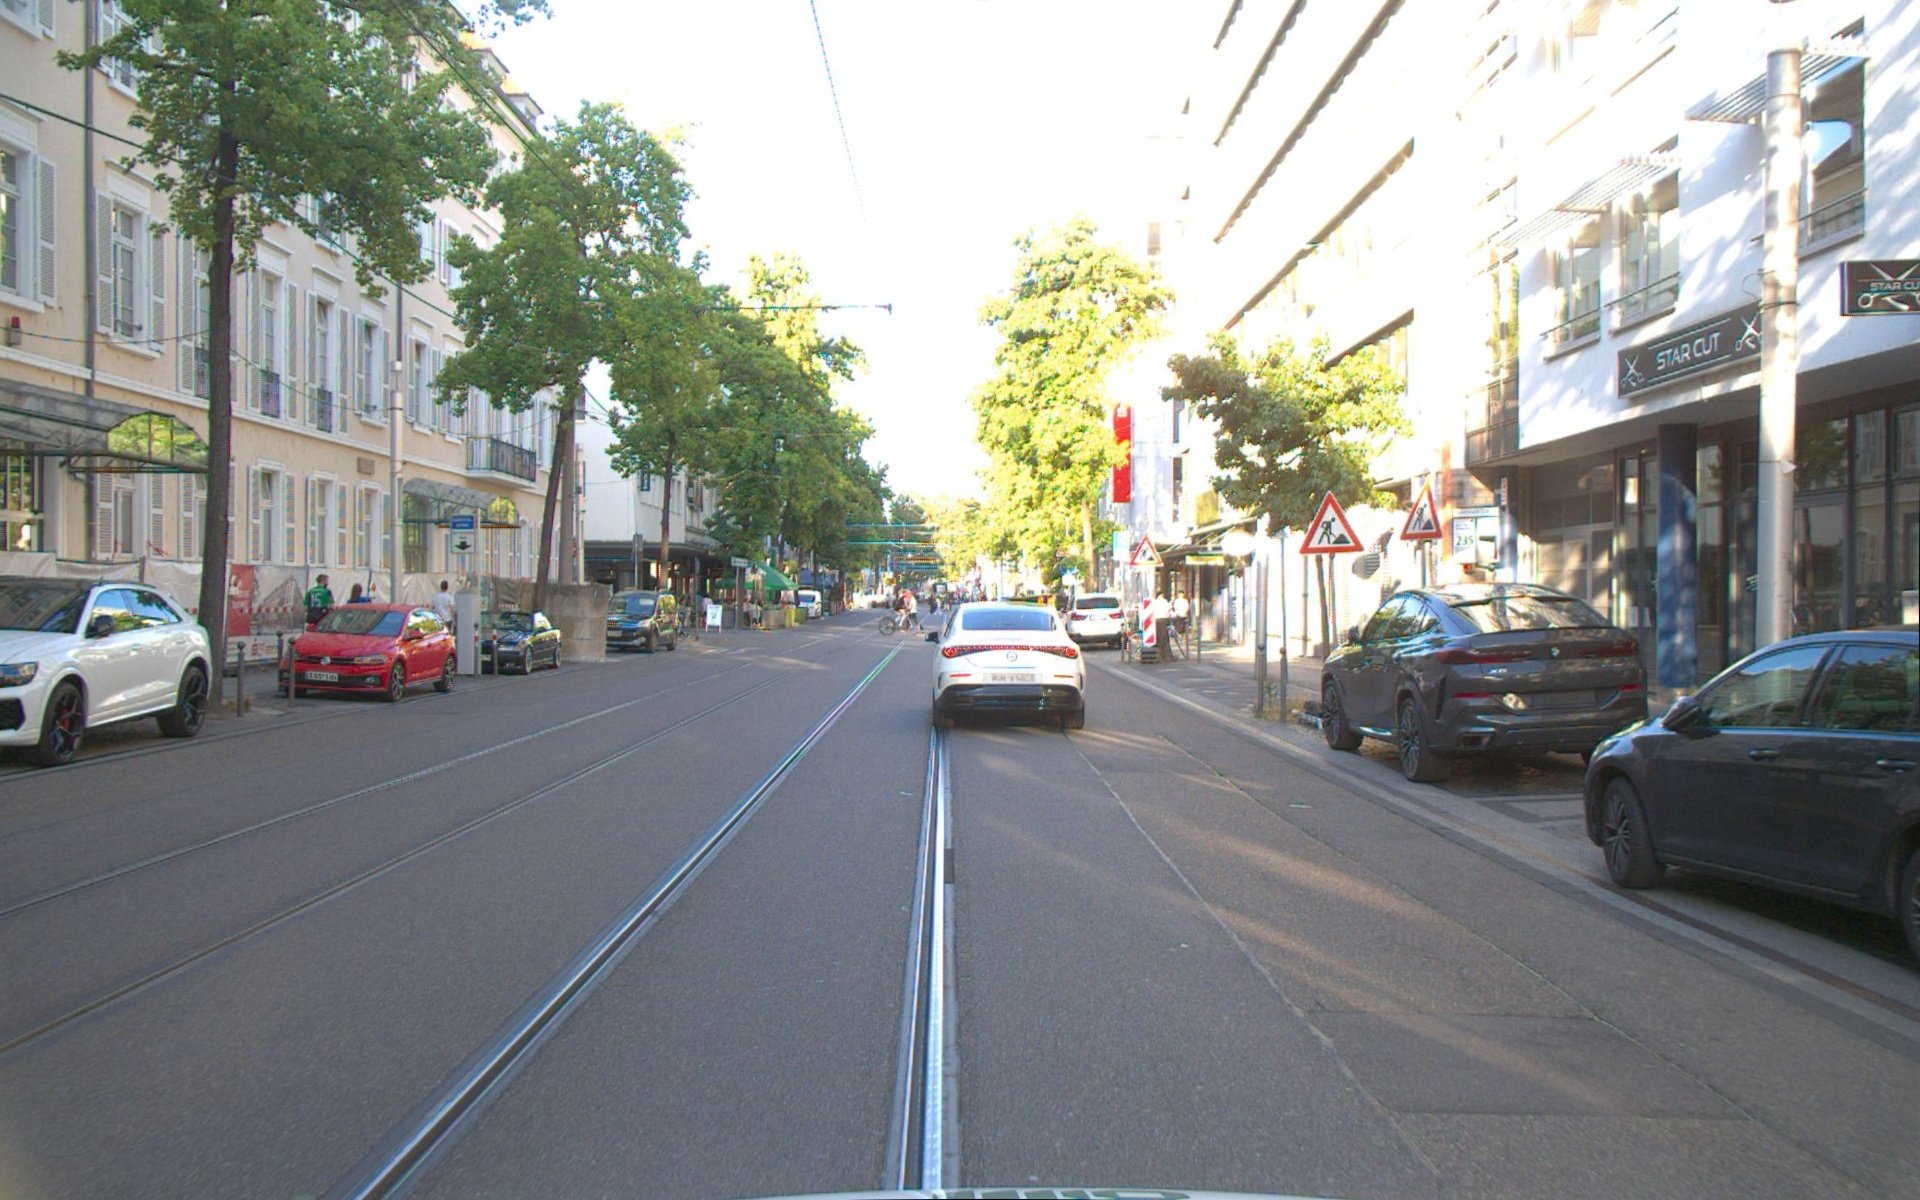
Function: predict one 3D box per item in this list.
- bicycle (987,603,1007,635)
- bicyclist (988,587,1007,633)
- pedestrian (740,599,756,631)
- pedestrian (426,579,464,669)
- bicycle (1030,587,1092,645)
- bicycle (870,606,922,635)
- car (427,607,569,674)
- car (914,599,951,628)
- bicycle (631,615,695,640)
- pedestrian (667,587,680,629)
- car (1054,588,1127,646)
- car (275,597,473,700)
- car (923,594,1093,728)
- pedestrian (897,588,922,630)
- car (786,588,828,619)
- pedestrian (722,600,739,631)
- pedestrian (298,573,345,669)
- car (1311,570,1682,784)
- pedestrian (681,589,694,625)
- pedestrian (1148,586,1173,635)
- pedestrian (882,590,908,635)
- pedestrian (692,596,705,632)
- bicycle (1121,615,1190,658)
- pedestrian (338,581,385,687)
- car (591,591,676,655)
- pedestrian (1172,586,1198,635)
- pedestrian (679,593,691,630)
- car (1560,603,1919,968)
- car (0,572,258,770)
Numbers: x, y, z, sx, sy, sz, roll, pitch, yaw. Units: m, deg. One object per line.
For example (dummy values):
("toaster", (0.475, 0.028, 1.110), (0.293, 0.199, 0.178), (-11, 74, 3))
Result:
("bicycle", (1.400, 0.718, 62.584), (0.725, 1.209, 2.160), (0, 0, 0))
("bicyclist", (1.409, 0.375, 62.605), (0.710, 1.732, 0.811), (0, 0, 0))
("pedestrian", (-10.234, 0.717, 79.705), (0.511, 1.504, 0.644), (-2, -1, -28))
("pedestrian", (-11.784, 0.539, 37.856), (0.693, 2.039, 0.675), (0, 0, -4))
("bicycle", (3.671, 0.593, 60.683), (1.953, 2.049, 3.999), (0, 0, -1))
("bicycle", (-2.634, 0.838, 68.014), (2.014, 1.155, 0.870), (0, 0, -15))
("car", (-9.808, 0.827, 35.453), (1.953, 1.315, 3.999), (0, 0, -1))
("car", (-3.033, 1.492, 183.498), (3.956, 3.169, 8.429), (0, 0, -1))
("bicycle", (-10.554, 0.980, 58.707), (2.206, 0.845, 0.716), (0, 0, 22))
("pedestrian", (-13.221, 0.367, 76.247), (0.506, 1.888, 0.650), (0, 0, -1))
("car", (4.112, 0.514, 52.693), (1.953, 1.758, 4.240), (0, 0, 0))
("car", (-9.410, 0.735, 26.907), (1.654, 1.525, 4.234), (0, 0, 1))
("car", (0.494, 0.670, 20.487), (1.830, 1.494, 4.040), (0, 0, -2))
("pedestrian", (-2.205, 0.383, 72.042), (0.904, 1.805, 0.870), (0, 0, -15))
("car", (-10.282, 0.196, 111.203), (1.951, 2.049, 4.003), (0, 0, 8))
("pedestrian", (-10.835, 0.726, 78.222), (0.557, 1.489, 0.650), (0, 0, 19))
("pedestrian", (-12.357, 0.394, 32.031), (0.693, 1.838, 0.675), (0, 0, -6))
("car", (4.896, 0.618, 15.935), (1.953, 1.743, 4.865), (0, 0, -1))
("pedestrian", (-12.624, 0.320, 76.716), (0.506, 1.681, 0.650), (0, 0, -1))
("pedestrian", (7.533, 0.390, 62.180), (0.785, 1.805, 0.680), (0, 0, -13))
("pedestrian", (-2.689, 0.507, 68.008), (0.904, 1.805, 0.870), (0, 0, -15))
("pedestrian", (-12.013, 0.653, 75.857), (0.506, 1.644, 0.650), (0, 0, -2))
("bicycle", (4.903, 0.914, 41.561), (1.686, 1.080, 0.581), (0, 0, 3))
("pedestrian", (-11.593, 0.653, 32.052), (0.693, 2.039, 0.675), (0, 0, -4))
("car", (-9.541, 0.641, 48.526), (1.519, 1.827, 3.170), (0, 0, 8))
("pedestrian", (8.438, 0.385, 62.127), (0.785, 1.805, 0.680), (0, 0, -13))
("pedestrian", (-13.408, 0.569, 80.739), (0.507, 1.813, 0.608), (0, 0, -5))
("car", (4.785, 0.788, 8.065), (1.803, 1.461, 3.993), (-2, 0, -8))
("car", (-9.238, 0.619, 16.918), (1.921, 1.721, 5.013), (0, 0, 1))
